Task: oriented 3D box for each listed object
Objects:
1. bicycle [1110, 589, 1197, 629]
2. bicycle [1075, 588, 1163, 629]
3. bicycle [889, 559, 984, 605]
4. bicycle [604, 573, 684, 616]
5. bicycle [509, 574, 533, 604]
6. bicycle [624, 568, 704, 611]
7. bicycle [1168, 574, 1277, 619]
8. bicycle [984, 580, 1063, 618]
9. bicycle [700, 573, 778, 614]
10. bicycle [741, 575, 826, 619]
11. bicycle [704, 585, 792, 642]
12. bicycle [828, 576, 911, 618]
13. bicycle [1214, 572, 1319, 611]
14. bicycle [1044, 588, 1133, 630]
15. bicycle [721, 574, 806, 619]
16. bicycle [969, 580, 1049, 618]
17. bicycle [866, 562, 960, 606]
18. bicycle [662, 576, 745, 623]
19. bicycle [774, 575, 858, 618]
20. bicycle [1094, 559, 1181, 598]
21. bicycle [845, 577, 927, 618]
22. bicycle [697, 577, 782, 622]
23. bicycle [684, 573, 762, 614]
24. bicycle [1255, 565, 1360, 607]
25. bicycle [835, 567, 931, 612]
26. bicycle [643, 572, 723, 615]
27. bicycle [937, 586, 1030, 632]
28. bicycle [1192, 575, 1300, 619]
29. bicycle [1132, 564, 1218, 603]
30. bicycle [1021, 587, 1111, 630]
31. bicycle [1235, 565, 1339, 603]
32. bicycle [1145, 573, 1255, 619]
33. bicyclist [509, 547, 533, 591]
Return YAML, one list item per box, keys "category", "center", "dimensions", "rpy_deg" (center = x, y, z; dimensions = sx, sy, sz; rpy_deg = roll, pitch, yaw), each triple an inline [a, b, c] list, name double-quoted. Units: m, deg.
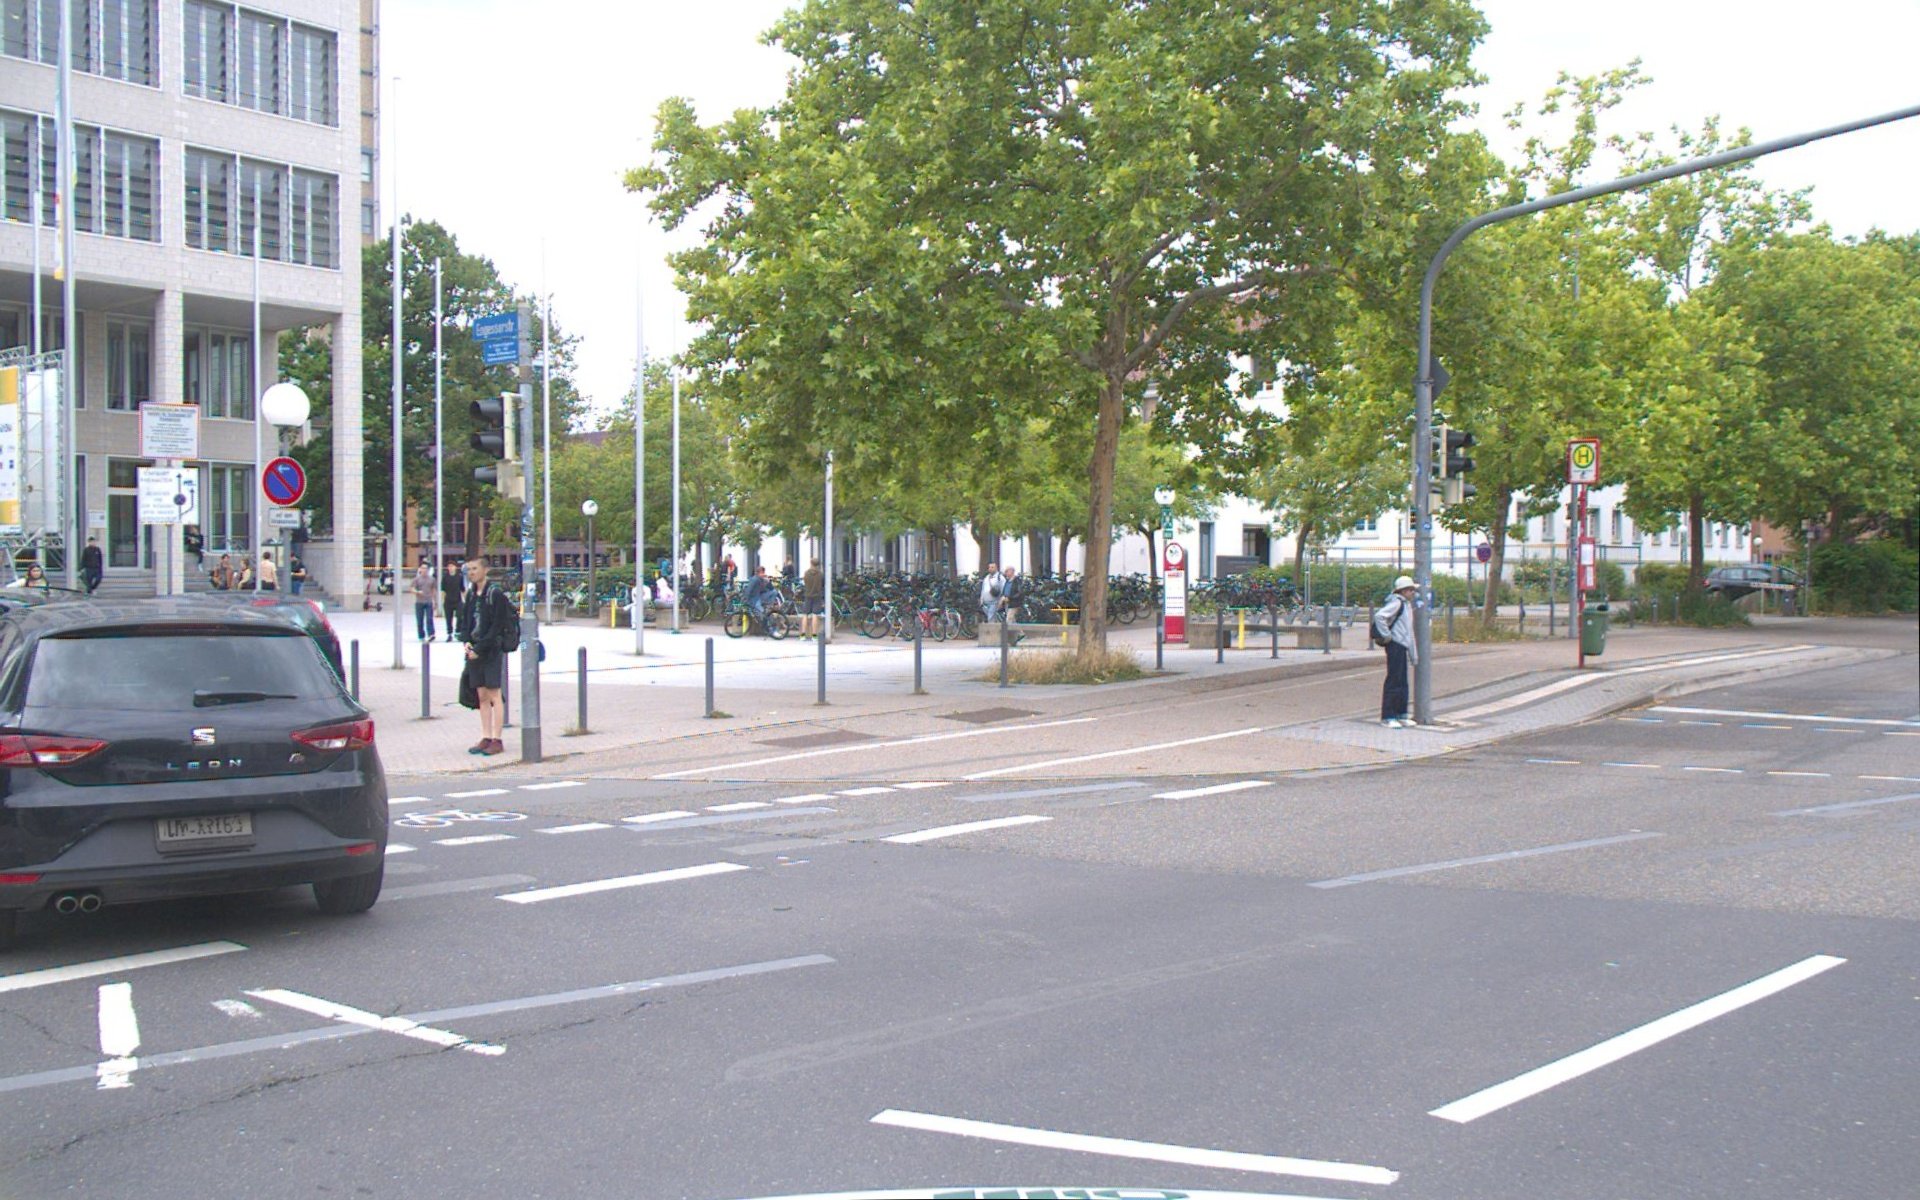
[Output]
- category: "bicycle"
  center: [6.616, 0.281, 56.687]
  dimensions: [3.054, 1.190, 0.743]
  rpy_deg: [4, 2, 43]
- category: "bicycle"
  center: [5.283, 0.272, 55.156]
  dimensions: [3.054, 1.190, 0.743]
  rpy_deg: [4, 2, 43]
- category: "bicycle"
  center: [-0.705, -0.530, 47.661]
  dimensions: [3.054, 1.190, 0.743]
  rpy_deg: [4, 2, 43]
- category: "bicycle"
  center: [-9.809, -0.181, 51.201]
  dimensions: [3.054, 1.190, 0.743]
  rpy_deg: [4, 2, 43]
- category: "bicycle"
  center: [-16.647, -0.434, 62.781]
  dimensions: [0.858, 1.112, 1.794]
  rpy_deg: [0, 1, -14]
- category: "bicycle"
  center: [-9.283, -0.324, 51.785]
  dimensions: [3.054, 1.190, 0.743]
  rpy_deg: [4, 2, 43]
- category: "bicycle"
  center: [8.023, -0.128, 50.797]
  dimensions: [1.047, 1.190, 3.341]
  rpy_deg: [1, 2, -43]
- category: "bicycle"
  center: [2.271, -0.056, 59.437]
  dimensions: [3.053, 1.190, 0.743]
  rpy_deg: [4, 2, 42]
- category: "bicycle"
  center: [-7.312, -0.217, 54.637]
  dimensions: [3.054, 1.190, 0.743]
  rpy_deg: [4, 2, 43]
- category: "bicycle"
  center: [-5.461, -0.115, 50.871]
  dimensions: [3.054, 1.190, 0.743]
  rpy_deg: [4, 2, 43]
- category: "bicycle"
  center: [-4.984, 0.314, 38.762]
  dimensions: [2.366, 1.190, 0.455]
  rpy_deg: [4, 2, 36]
- category: "bicycle"
  center: [-2.981, -0.109, 54.026]
  dimensions: [3.053, 1.190, 0.743]
  rpy_deg: [4, 2, 42]
- category: "bicycle"
  center: [9.698, -0.260, 52.475]
  dimensions: [1.047, 1.190, 3.340]
  rpy_deg: [-1, 0, -43]
- category: "bicycle"
  center: [4.140, 0.269, 53.729]
  dimensions: [3.054, 1.190, 0.743]
  rpy_deg: [4, 2, 43]
- category: "bicycle"
  center: [-5.992, -0.120, 50.303]
  dimensions: [3.054, 1.190, 0.743]
  rpy_deg: [4, 2, 43]
- category: "bicycle"
  center: [1.715, -0.059, 58.773]
  dimensions: [3.053, 1.190, 0.743]
  rpy_deg: [4, 2, 42]
- category: "bicycle"
  center: [-1.353, -0.469, 46.865]
  dimensions: [3.053, 1.190, 0.743]
  rpy_deg: [1, 1, 43]
- category: "bicycle"
  center: [-7.545, -0.028, 48.513]
  dimensions: [3.054, 1.190, 0.618]
  rpy_deg: [4, 2, 43]
- category: "bicycle"
  center: [-4.544, -0.116, 52.123]
  dimensions: [3.054, 1.190, 0.743]
  rpy_deg: [4, 2, 43]
- category: "bicycle"
  center: [5.974, -0.734, 55.878]
  dimensions: [3.054, 1.190, 0.743]
  rpy_deg: [4, 2, 43]
- category: "bicycle"
  center: [-2.463, -0.105, 54.602]
  dimensions: [3.053, 1.190, 0.743]
  rpy_deg: [4, 2, 42]
- category: "bicycle"
  center: [-6.638, -0.025, 49.652]
  dimensions: [3.054, 1.190, 0.743]
  rpy_deg: [4, 2, 43]
- category: "bicycle"
  center: [-7.752, -0.214, 53.947]
  dimensions: [3.054, 1.190, 0.743]
  rpy_deg: [4, 2, 43]
- category: "bicycle"
  center: [11.315, -0.471, 54.054]
  dimensions: [1.047, 1.190, 3.342]
  rpy_deg: [2, 2, -42]
- category: "bicycle"
  center: [-2.169, -0.310, 46.007]
  dimensions: [3.053, 1.190, 0.743]
  rpy_deg: [1, 1, 43]
- category: "bicycle"
  center: [-8.789, -0.208, 52.392]
  dimensions: [3.054, 1.190, 0.743]
  rpy_deg: [4, 2, 43]
- category: "bicycle"
  center: [0.677, 0.255, 49.499]
  dimensions: [3.054, 1.190, 0.743]
  rpy_deg: [4, 2, 43]
- category: "bicycle"
  center: [8.924, -0.118, 51.693]
  dimensions: [1.047, 1.190, 3.341]
  rpy_deg: [1, 2, -43]
- category: "bicycle"
  center: [7.479, -0.579, 57.706]
  dimensions: [3.054, 1.190, 0.743]
  rpy_deg: [4, 2, 43]
- category: "bicycle"
  center: [3.370, 0.265, 52.821]
  dimensions: [3.054, 1.190, 0.743]
  rpy_deg: [4, 2, 43]
- category: "bicycle"
  center: [10.504, -0.527, 53.256]
  dimensions: [1.047, 1.190, 3.340]
  rpy_deg: [-1, 1, -43]
- category: "bicycle"
  center: [7.187, -0.131, 49.748]
  dimensions: [1.047, 1.190, 3.341]
  rpy_deg: [1, 2, -43]
- category: "bicyclist"
  center: [-16.644, -1.186, 62.760]
  dimensions: [0.859, 1.669, 0.865]
  rpy_deg: [0, 1, -15]
